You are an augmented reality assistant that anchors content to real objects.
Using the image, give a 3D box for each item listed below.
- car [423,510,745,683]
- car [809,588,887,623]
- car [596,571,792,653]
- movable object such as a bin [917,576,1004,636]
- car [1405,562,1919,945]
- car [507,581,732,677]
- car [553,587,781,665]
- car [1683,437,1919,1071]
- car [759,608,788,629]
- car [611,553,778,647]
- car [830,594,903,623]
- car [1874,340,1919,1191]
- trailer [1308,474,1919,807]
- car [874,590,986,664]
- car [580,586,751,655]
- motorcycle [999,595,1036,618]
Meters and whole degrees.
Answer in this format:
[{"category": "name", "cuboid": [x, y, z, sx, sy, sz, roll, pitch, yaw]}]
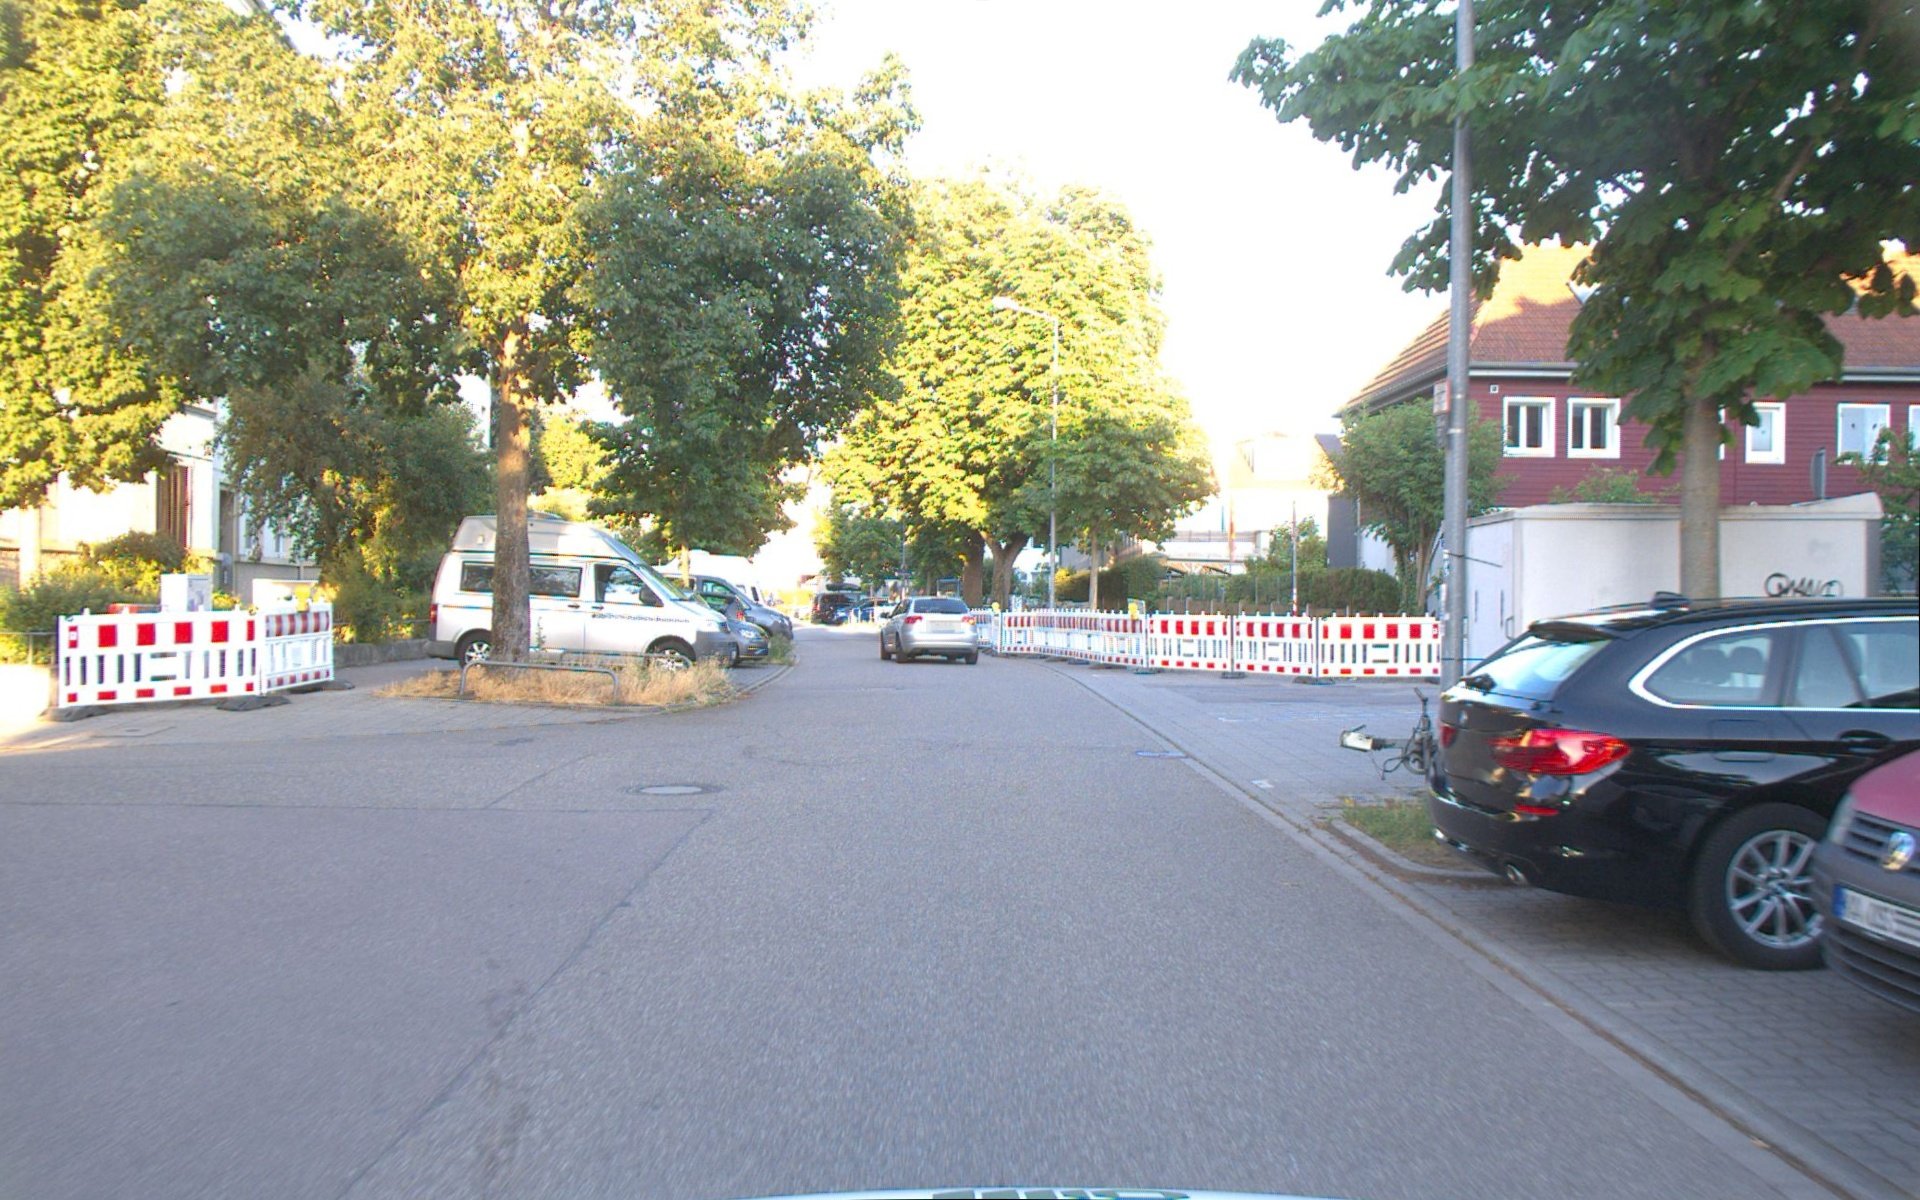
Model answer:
[{"category": "car", "cuboid": [-5.912, -0.051, 26.409, 4.634, 2.614, 2.000, 1, 0, 0]}, {"category": "car", "cuboid": [-6.891, 0.345, 101.646, 4.485, 2.058, 2.091, 1, 0, -18]}, {"category": "car", "cuboid": [-6.445, 0.296, 40.450, 4.584, 1.906, 1.997, 1, 0, -7]}, {"category": "movable object such as a bin", "cuboid": [-0.032, 0.236, 70.798, 2.584, 2.445, 5.178, 1, 0, -14]}, {"category": "car", "cuboid": [4.443, 0.639, 7.577, 4.336, 1.525, 1.773, 1, 0, 0]}, {"category": "car", "cuboid": [-6.093, 0.519, 29.909, 3.728, 1.549, 1.651, 2, -1, -3]}, {"category": "car", "cuboid": [-5.686, 0.503, 32.465, 4.158, 1.418, 1.684, 1, 0, -1]}, {"category": "car", "cuboid": [4.886, 0.470, 5.416, 4.212, 1.831, 1.904, 1, 0, 0]}, {"category": "car", "cuboid": [-13.428, 1.318, 118.887, 1.700, 1.509, 3.545, 1, 0, -13]}, {"category": "car", "cuboid": [-7.233, -0.003, 45.508, 4.416, 2.473, 1.997, 1, 0, -7]}, {"category": "car", "cuboid": [-5.491, 0.502, 97.089, 3.928, 1.680, 1.754, 1, 0, -20]}, {"category": "car", "cuboid": [4.144, 0.394, 2.976, 3.905, 1.937, 2.000, 1, 0, -1]}, {"category": "trailer", "cuboid": [4.751, 0.279, 12.301, 3.905, 2.226, 2.000, 1, 0, 0]}, {"category": "car", "cuboid": [-0.722, 0.561, 36.050, 1.775, 1.514, 3.989, 0, 0, -11]}, {"category": "car", "cuboid": [-6.679, 0.460, 37.833, 3.696, 1.464, 1.653, 1, 0, -6]}, {"category": "motorcycle", "cuboid": [2.909, 0.340, 84.244, 1.817, 1.125, 0.576, 1, 0, -25]}]
